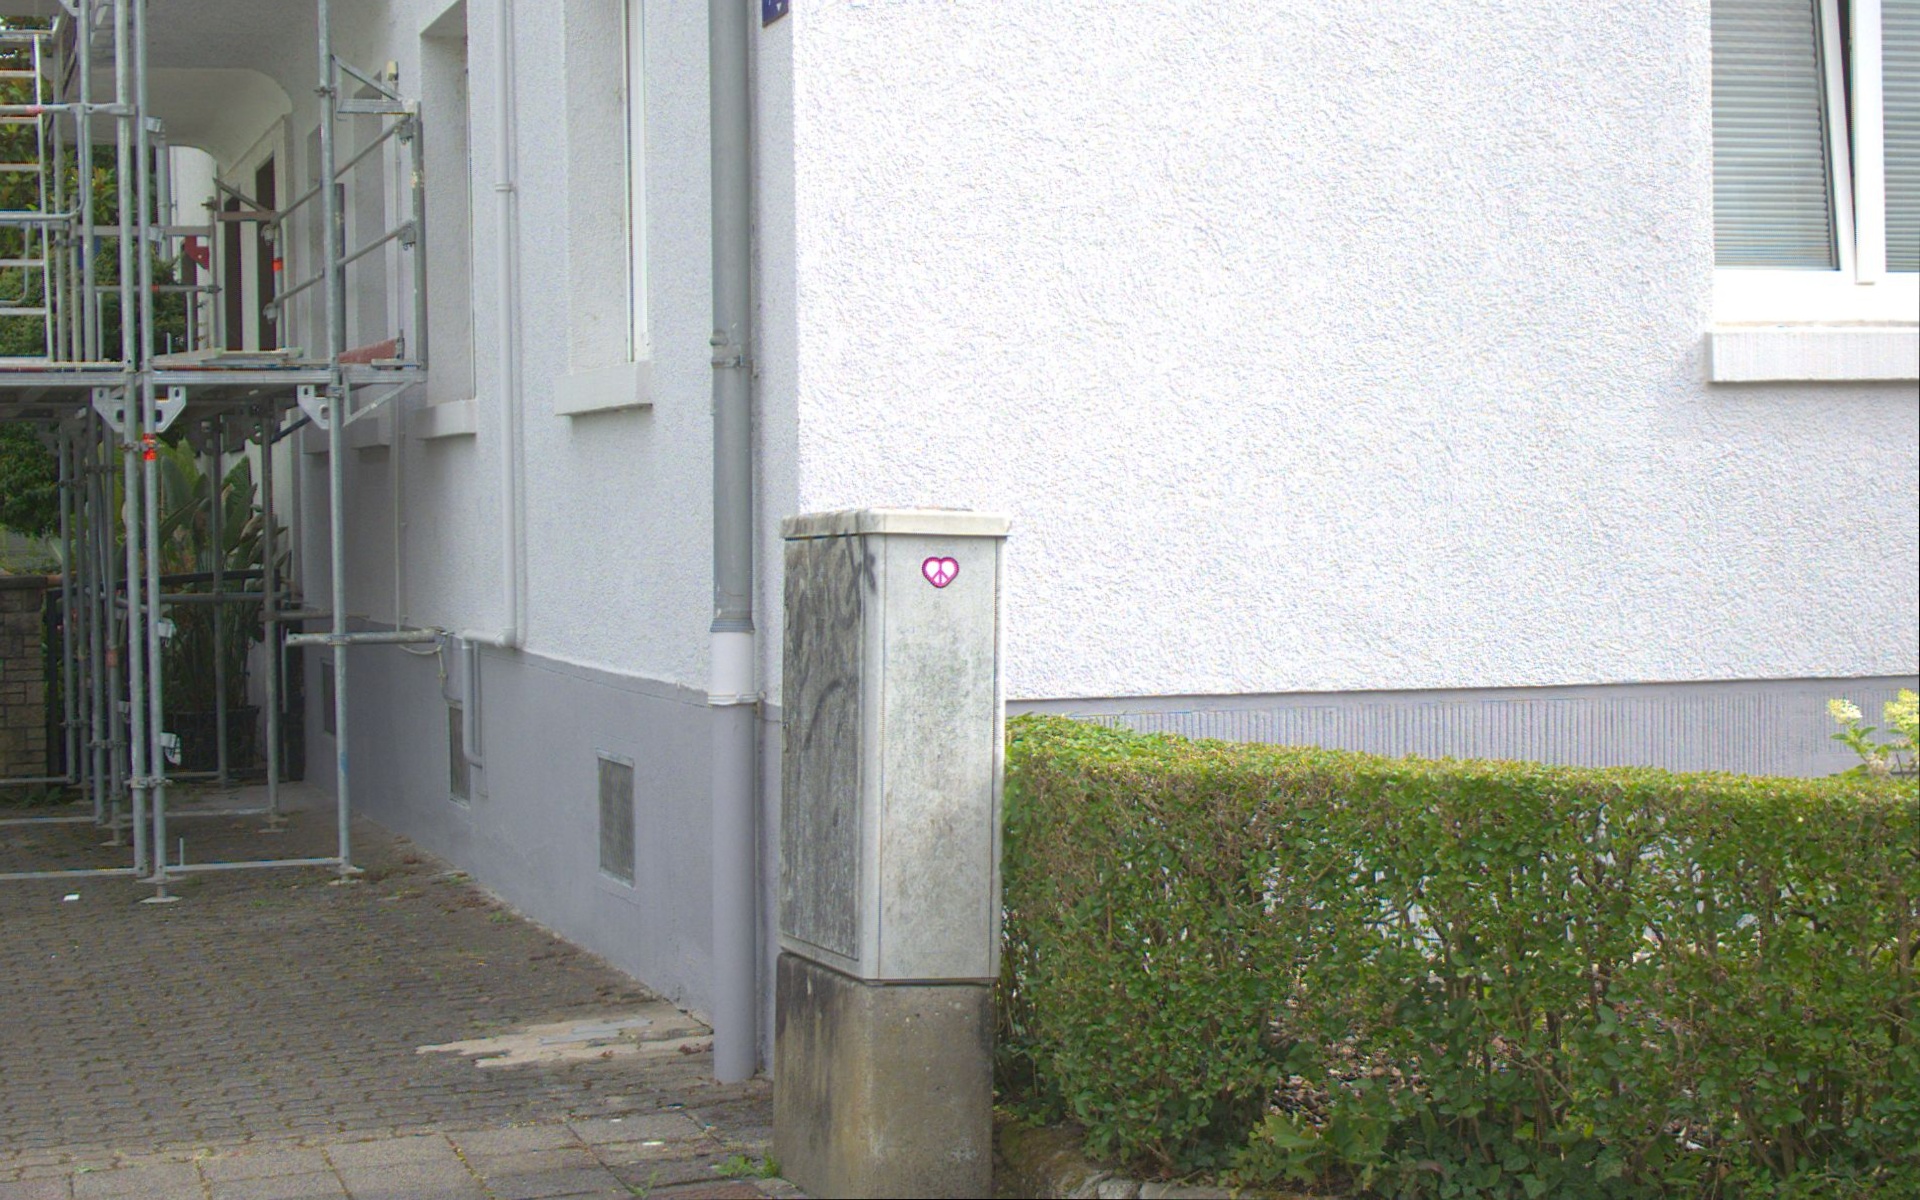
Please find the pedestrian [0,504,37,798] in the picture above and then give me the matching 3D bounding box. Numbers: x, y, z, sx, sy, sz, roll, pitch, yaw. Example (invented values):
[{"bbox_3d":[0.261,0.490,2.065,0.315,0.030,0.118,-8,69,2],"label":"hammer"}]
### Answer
[{"bbox_3d":[-5.521,0.286,19.295,0.601,1.623,0.625,-2,0,-16],"label":"pedestrian"}]
